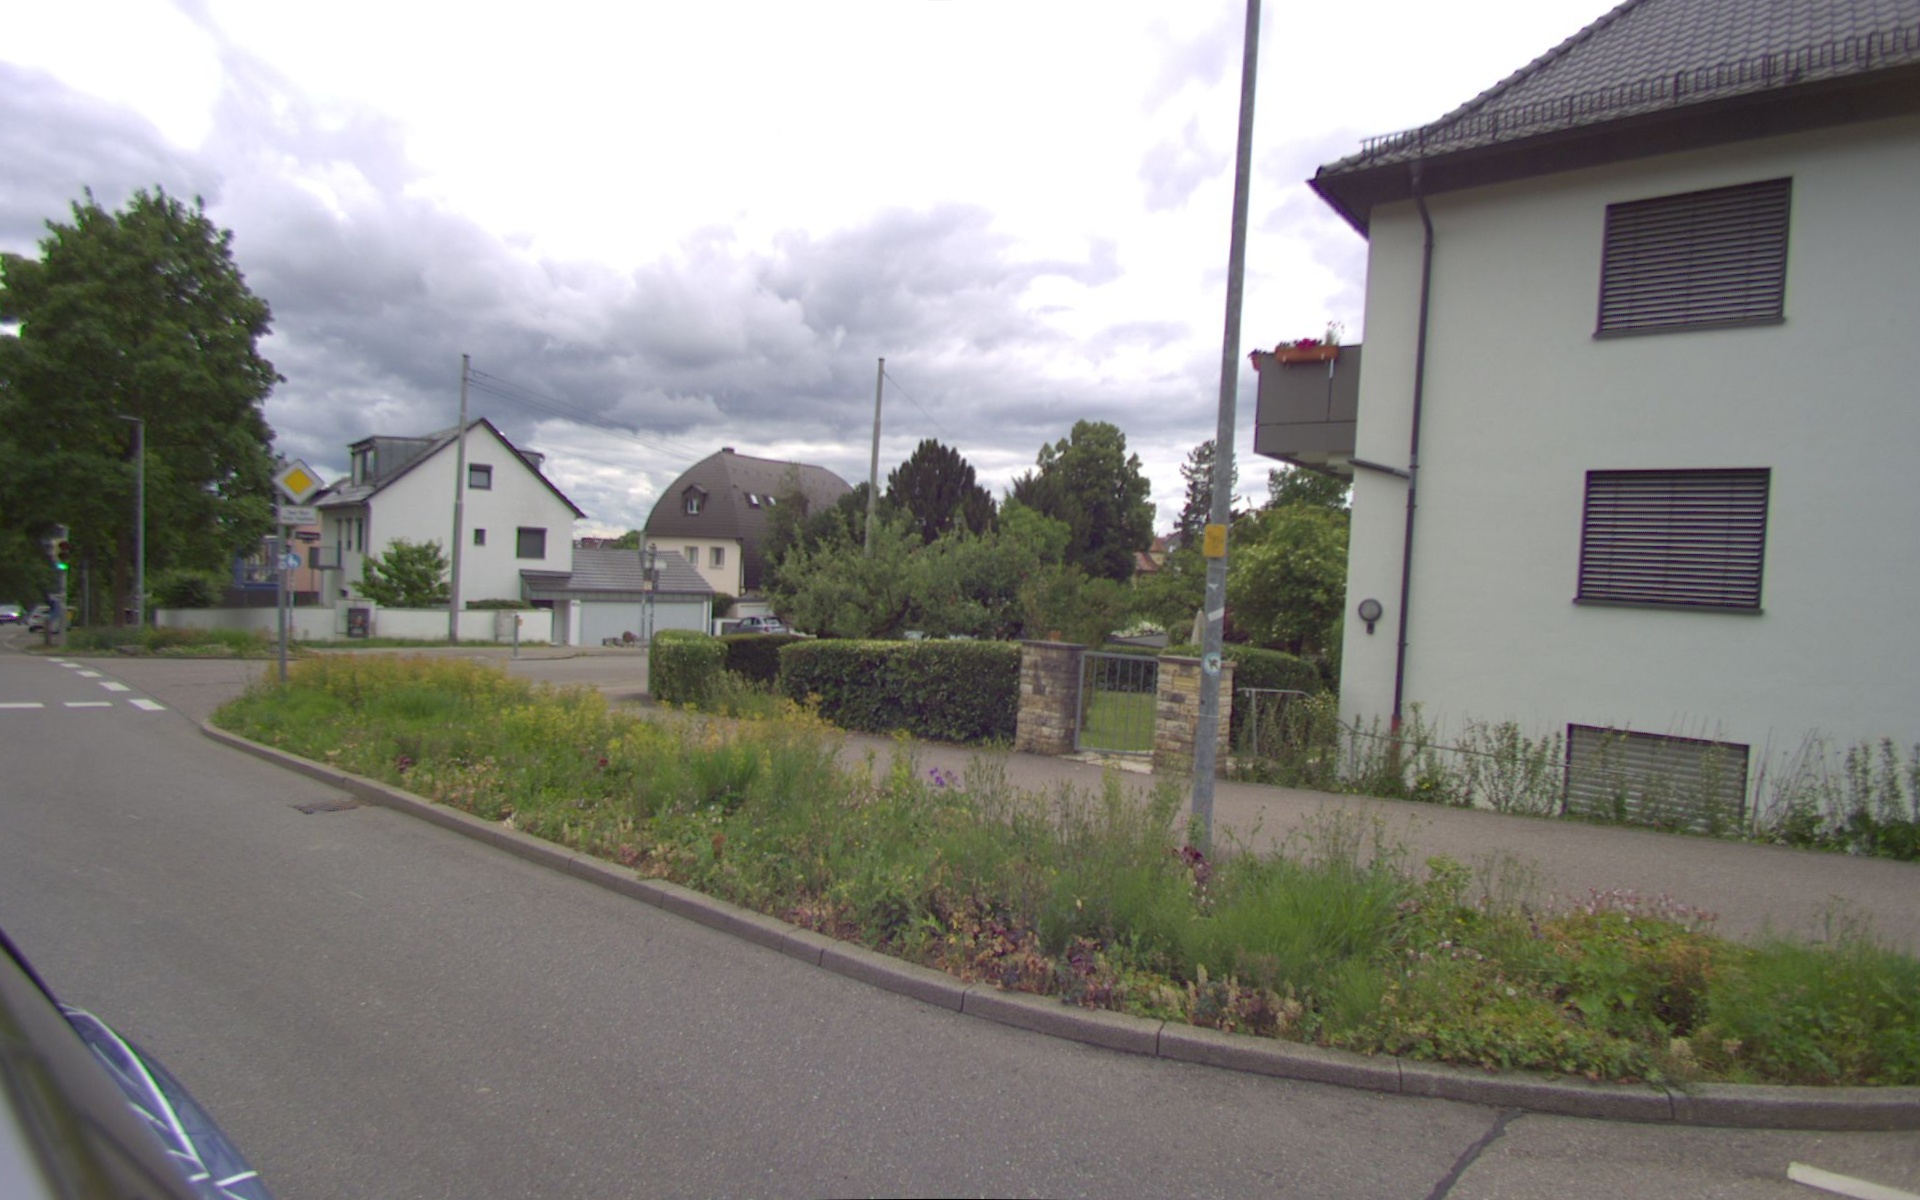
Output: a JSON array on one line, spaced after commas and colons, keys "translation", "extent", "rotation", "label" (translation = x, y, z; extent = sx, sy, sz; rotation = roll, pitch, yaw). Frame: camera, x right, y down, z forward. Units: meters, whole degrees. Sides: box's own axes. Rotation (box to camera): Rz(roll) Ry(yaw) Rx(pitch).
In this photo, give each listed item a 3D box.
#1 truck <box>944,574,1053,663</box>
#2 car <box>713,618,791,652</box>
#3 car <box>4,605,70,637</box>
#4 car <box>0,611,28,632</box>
[{"translation": [2.372, 1.139, 58.376], "extent": [3.139, 4.585, 7.882], "rotation": [4, -1, 26], "label": "truck"}, {"translation": [-9.862, 1.675, 47.936], "extent": [3.858, 1.508, 1.669], "rotation": [-3, -4, 42], "label": "car"}, {"translation": [-51.535, 1.152, 56.599], "extent": [1.966, 1.563, 4.012], "rotation": [4, -1, -32], "label": "car"}, {"translation": [-72.954, 1.654, 77.420], "extent": [1.542, 1.524, 3.408], "rotation": [2, -2, -27], "label": "car"}]
